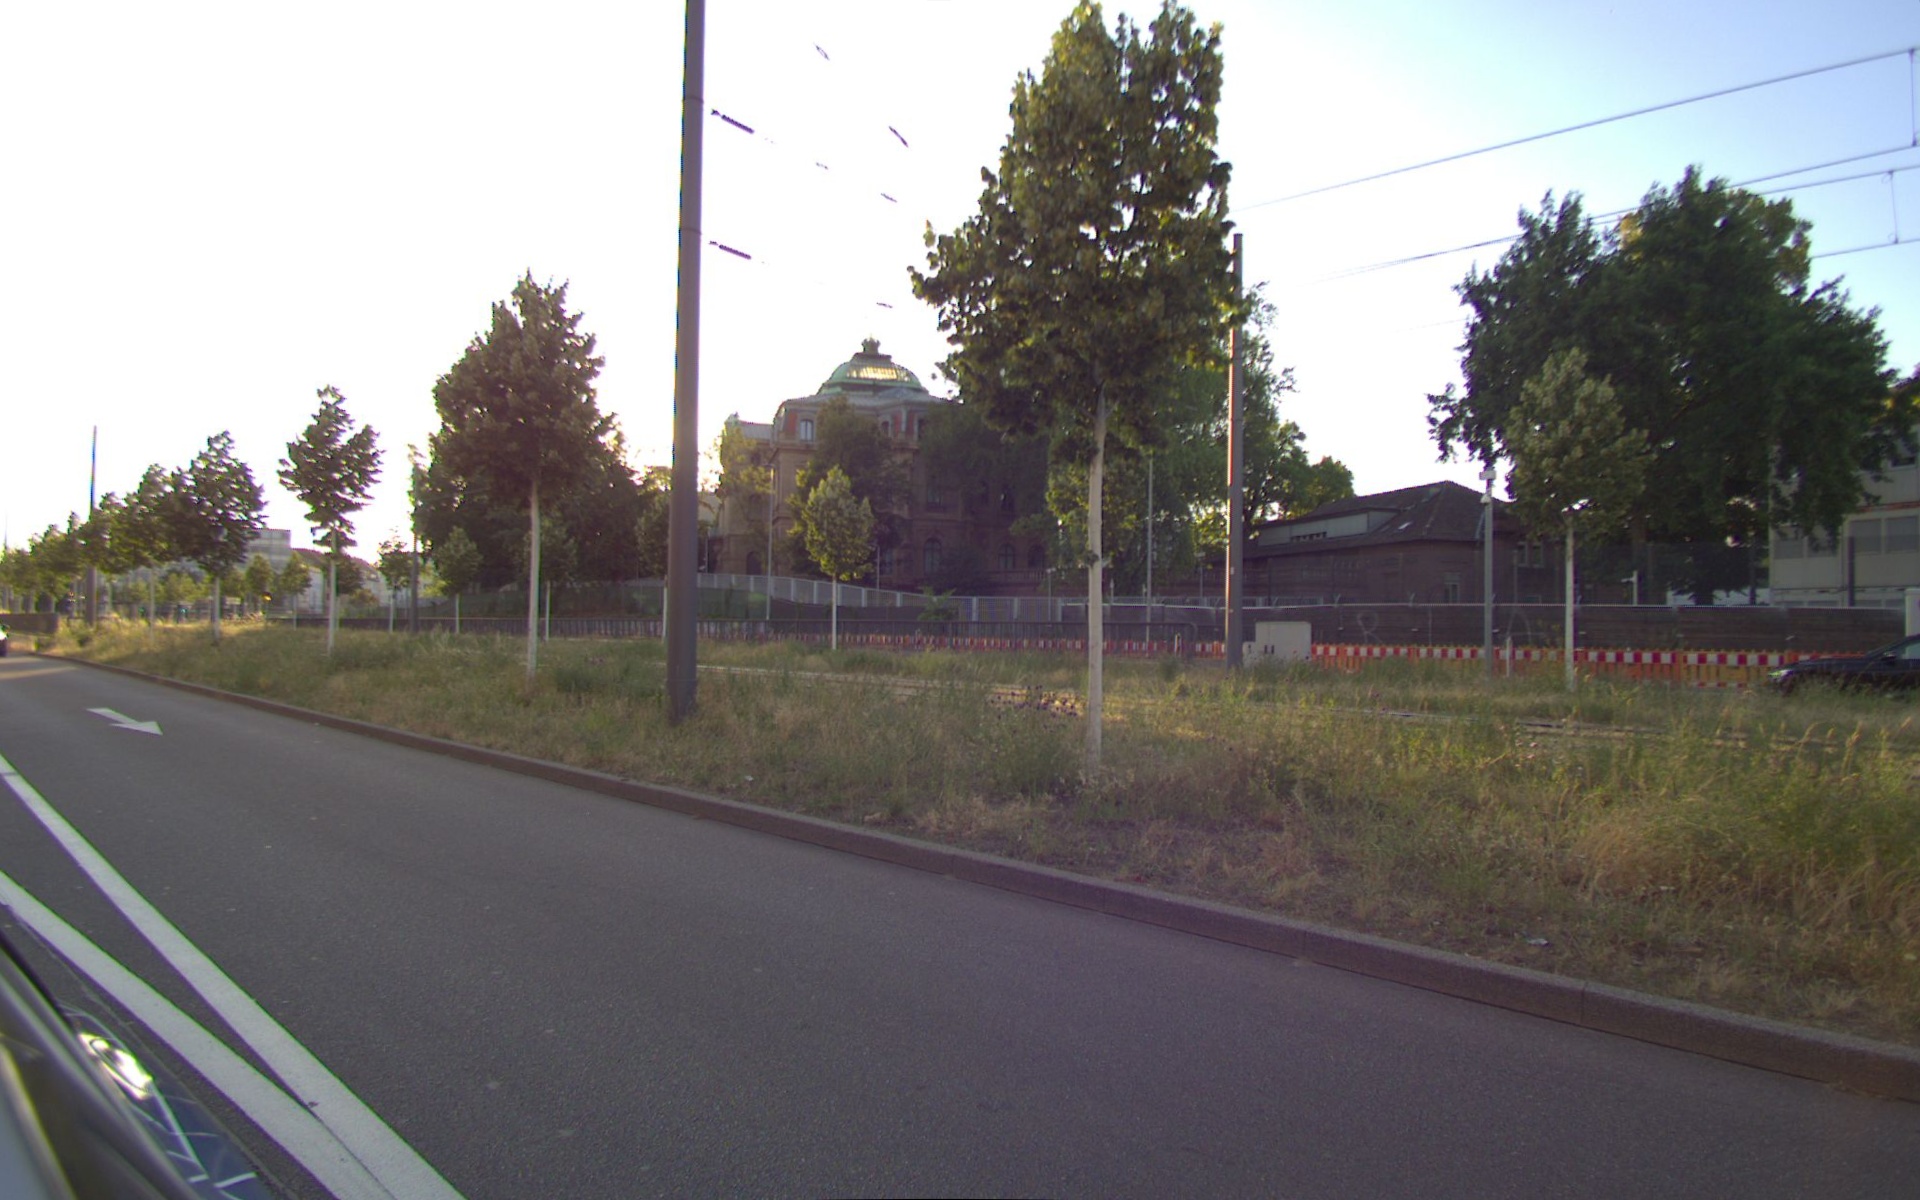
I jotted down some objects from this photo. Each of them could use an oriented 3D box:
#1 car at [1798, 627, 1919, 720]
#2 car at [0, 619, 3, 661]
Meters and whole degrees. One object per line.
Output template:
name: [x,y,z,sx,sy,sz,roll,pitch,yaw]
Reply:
car: [16.983,1.201,16.862,4.522,1.492,1.972,-3,-2,43]
car: [-35.829,1.474,36.356,4.843,1.444,1.834,-3,-2,43]
